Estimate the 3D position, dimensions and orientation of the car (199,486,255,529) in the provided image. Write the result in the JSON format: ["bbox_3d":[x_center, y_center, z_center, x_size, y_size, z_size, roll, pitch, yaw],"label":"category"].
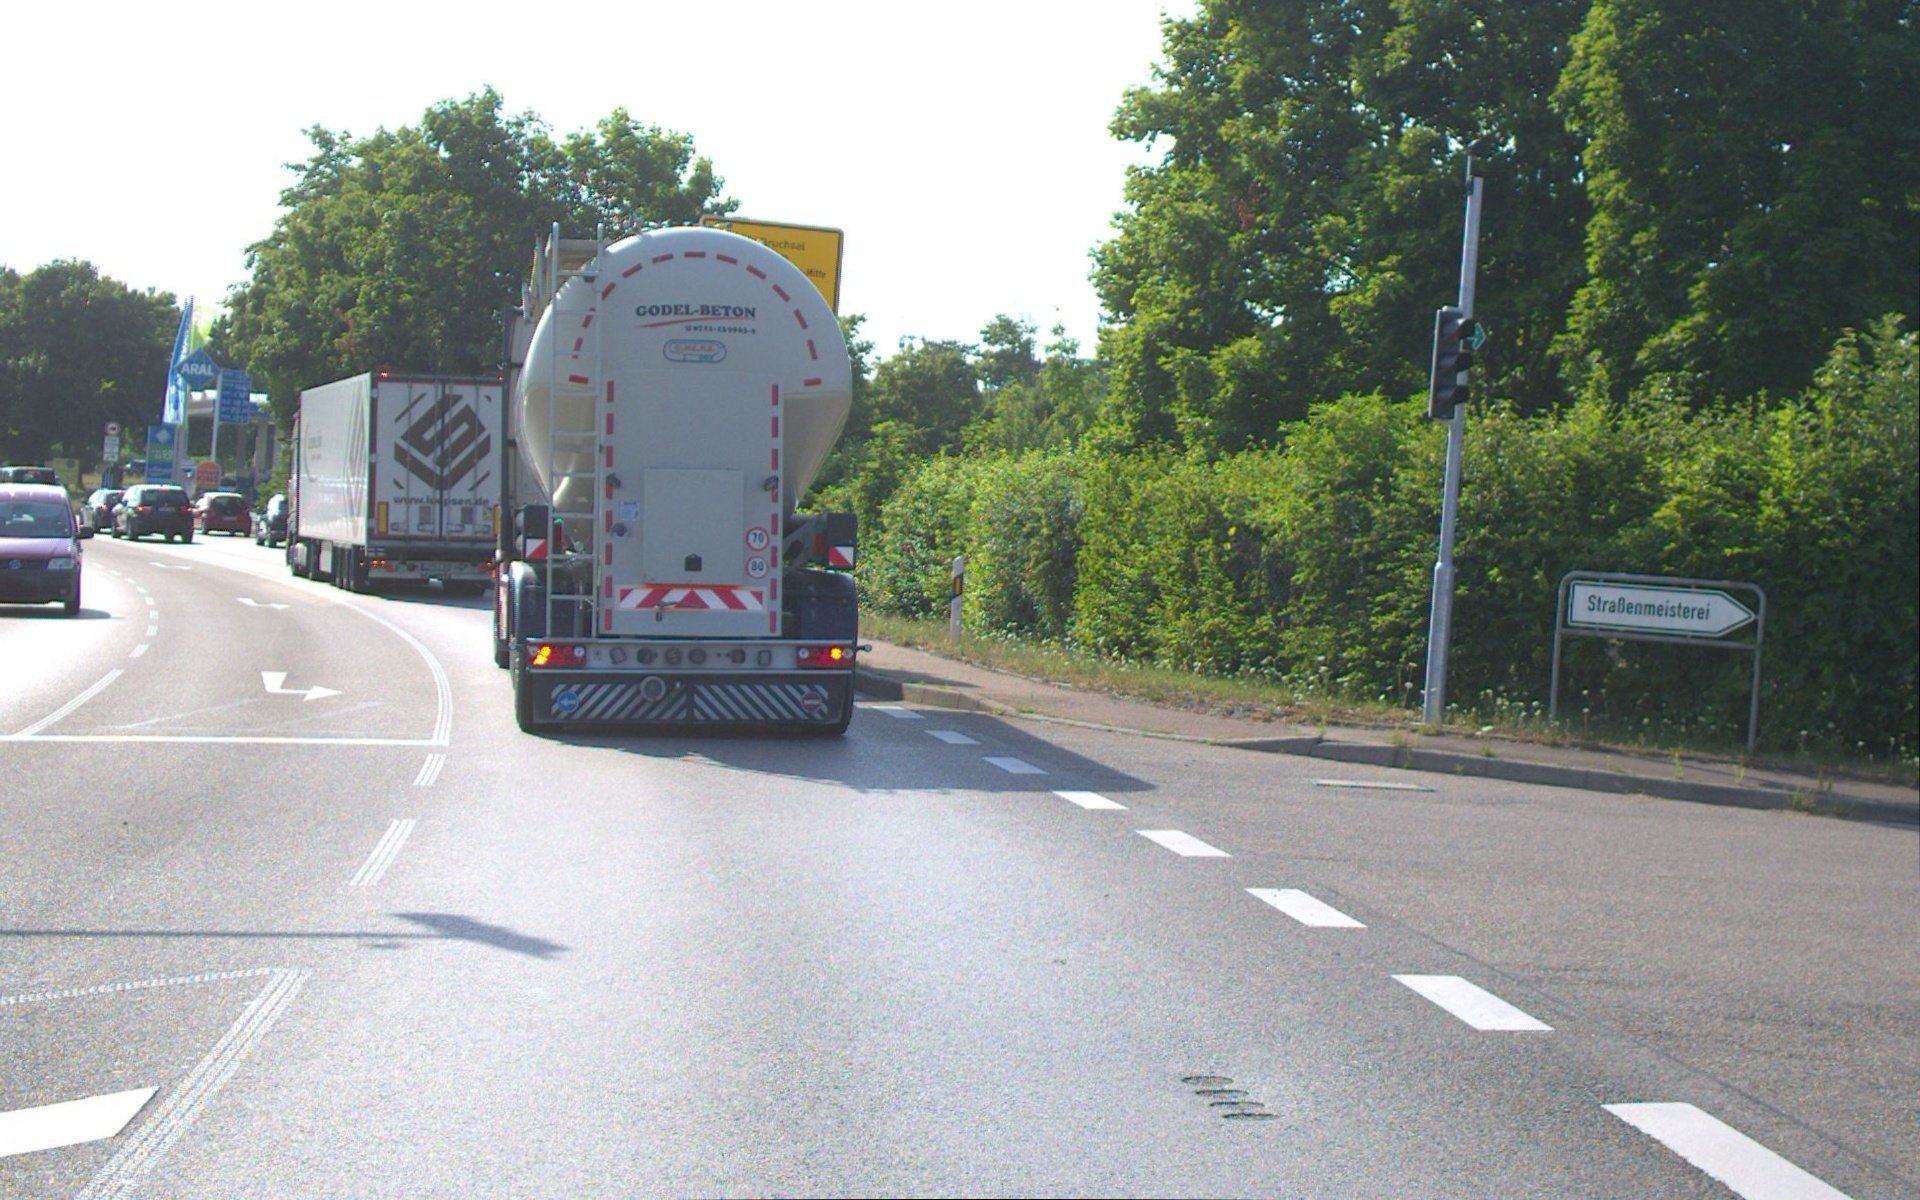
[{"bbox_3d":[-24.929,-3.157,116.900,1.674,1.336,3.427,3,2,-14],"label":"car"}]

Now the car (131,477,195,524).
[{"bbox_3d":[-24.460,-3.057,105.456,1.580,1.336,3.427,2,2,-18],"label":"car"}]

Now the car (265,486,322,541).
[{"bbox_3d":[-19.899,-2.590,102.573,1.420,1.503,3.427,3,1,-14],"label":"car"}]

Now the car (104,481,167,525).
[{"bbox_3d":[-27.232,-3.204,113.493,1.580,1.336,3.427,2,2,-20],"label":"car"}]

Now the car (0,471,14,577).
[{"bbox_3d":[-18.217,-1.415,62.622,1.724,1.876,4.337,0,2,-18],"label":"car"}]

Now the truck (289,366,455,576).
[{"bbox_3d":[-12.866,-2.799,74.915,2.950,4.288,4.933,3,1,-15],"label":"truck"}]

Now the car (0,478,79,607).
[{"bbox_3d":[-13.794,-0.864,49.559,1.880,1.769,4.323,0,2,-18],"label":"car"}]

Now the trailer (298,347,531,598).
[{"bbox_3d":[-10.977,-2.511,67.739,2.954,4.300,14.181,3,2,-15],"label":"trailer"}]

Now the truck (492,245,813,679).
[{"bbox_3d":[-3.157,-1.349,34.329,2.909,3.992,4.061,1,2,-8],"label":"truck"}]

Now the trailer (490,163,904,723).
[{"bbox_3d":[-2.572,-1.286,29.961,2.909,3.992,9.933,1,2,-8],"label":"trailer"}]
